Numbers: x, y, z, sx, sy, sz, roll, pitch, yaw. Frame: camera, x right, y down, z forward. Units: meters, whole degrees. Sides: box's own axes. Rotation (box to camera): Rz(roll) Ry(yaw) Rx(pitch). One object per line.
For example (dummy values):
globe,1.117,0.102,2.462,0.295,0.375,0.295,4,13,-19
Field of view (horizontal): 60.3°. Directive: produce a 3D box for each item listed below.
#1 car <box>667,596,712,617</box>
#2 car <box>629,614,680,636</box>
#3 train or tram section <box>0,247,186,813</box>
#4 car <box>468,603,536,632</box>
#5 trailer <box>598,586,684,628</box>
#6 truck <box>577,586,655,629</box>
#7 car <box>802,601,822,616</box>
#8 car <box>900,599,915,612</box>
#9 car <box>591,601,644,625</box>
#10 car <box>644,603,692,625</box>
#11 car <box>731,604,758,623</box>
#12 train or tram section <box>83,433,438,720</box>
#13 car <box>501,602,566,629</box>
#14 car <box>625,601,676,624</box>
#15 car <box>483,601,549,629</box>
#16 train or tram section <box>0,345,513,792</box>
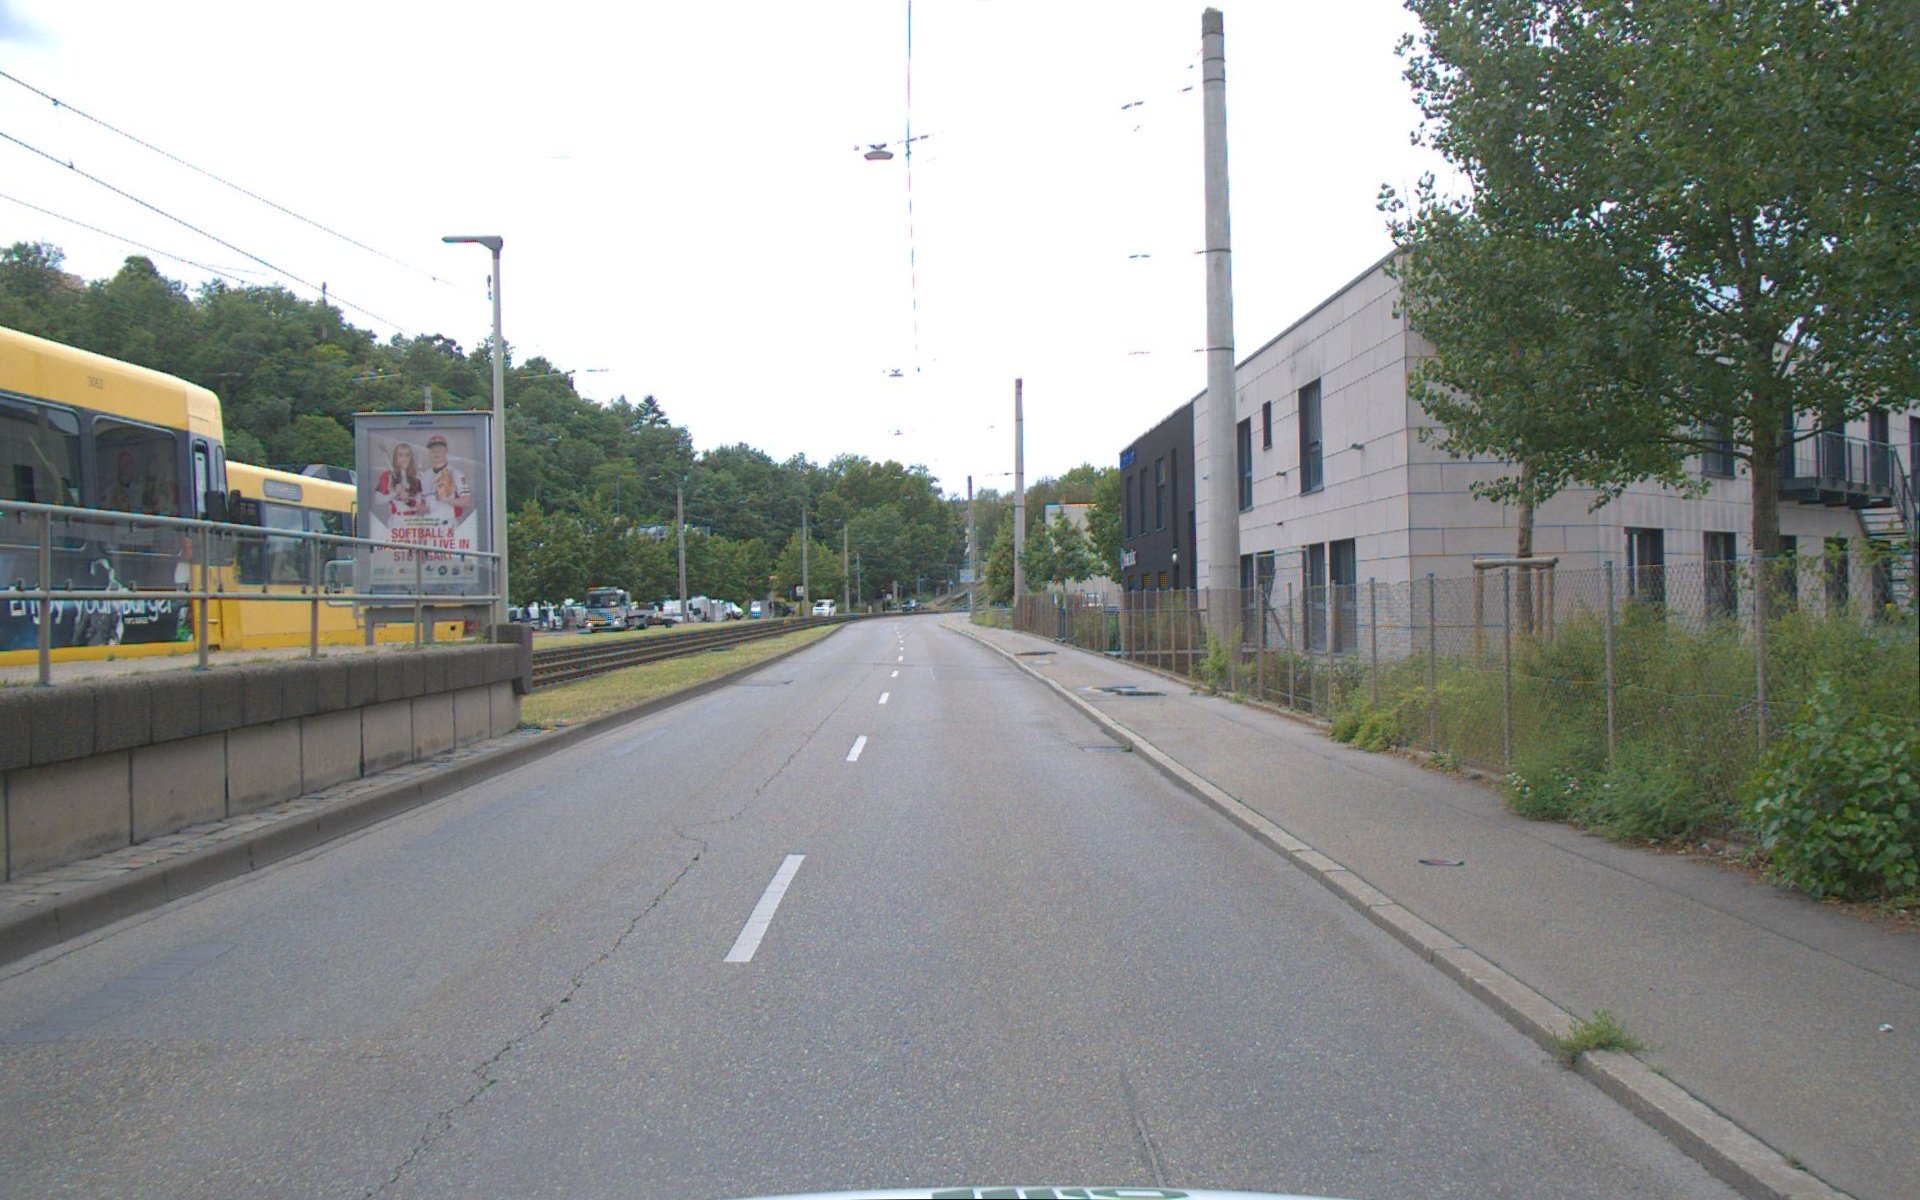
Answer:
car,-25.744,0.644,157.294,3.903,1.736,1.834,-2,-4,5
car,-26.674,2.212,144.473,3.903,1.735,1.835,-2,1,5
train or tram section,-8.114,-0.442,8.624,2.685,4.035,11.909,-1,1,-1
car,-30.374,1.164,109.710,3.903,1.735,1.835,-2,1,5
trailer,-21.296,0.408,111.046,2.831,2.628,10.001,-1,0,6
truck,-21.859,0.449,105.488,2.822,2.634,6.916,-1,0,6
car,-16.541,0.971,185.307,1.953,1.668,3.999,-1,0,-1
car,-7.028,0.716,223.206,1.953,1.668,3.999,-1,0,-1
car,-28.001,1.088,135.363,3.903,1.736,1.834,-2,-4,5
car,-26.390,1.287,149.587,3.903,1.736,1.834,-2,-4,5
car,-23.628,1.486,181.514,1.789,1.736,4.145,-2,-4,9
train or tram section,-10.998,-0.297,27.160,1.953,3.862,9.177,-1,0,-1
car,-29.662,1.084,115.031,3.903,1.735,1.835,-2,0,5
car,-26.014,1.084,139.091,3.903,1.736,1.834,-2,-4,5
car,-30.148,1.027,112.335,3.903,1.735,1.835,-2,0,5
train or tram section,-8.349,-0.354,20.573,2.911,4.136,10.194,-1,1,-1
